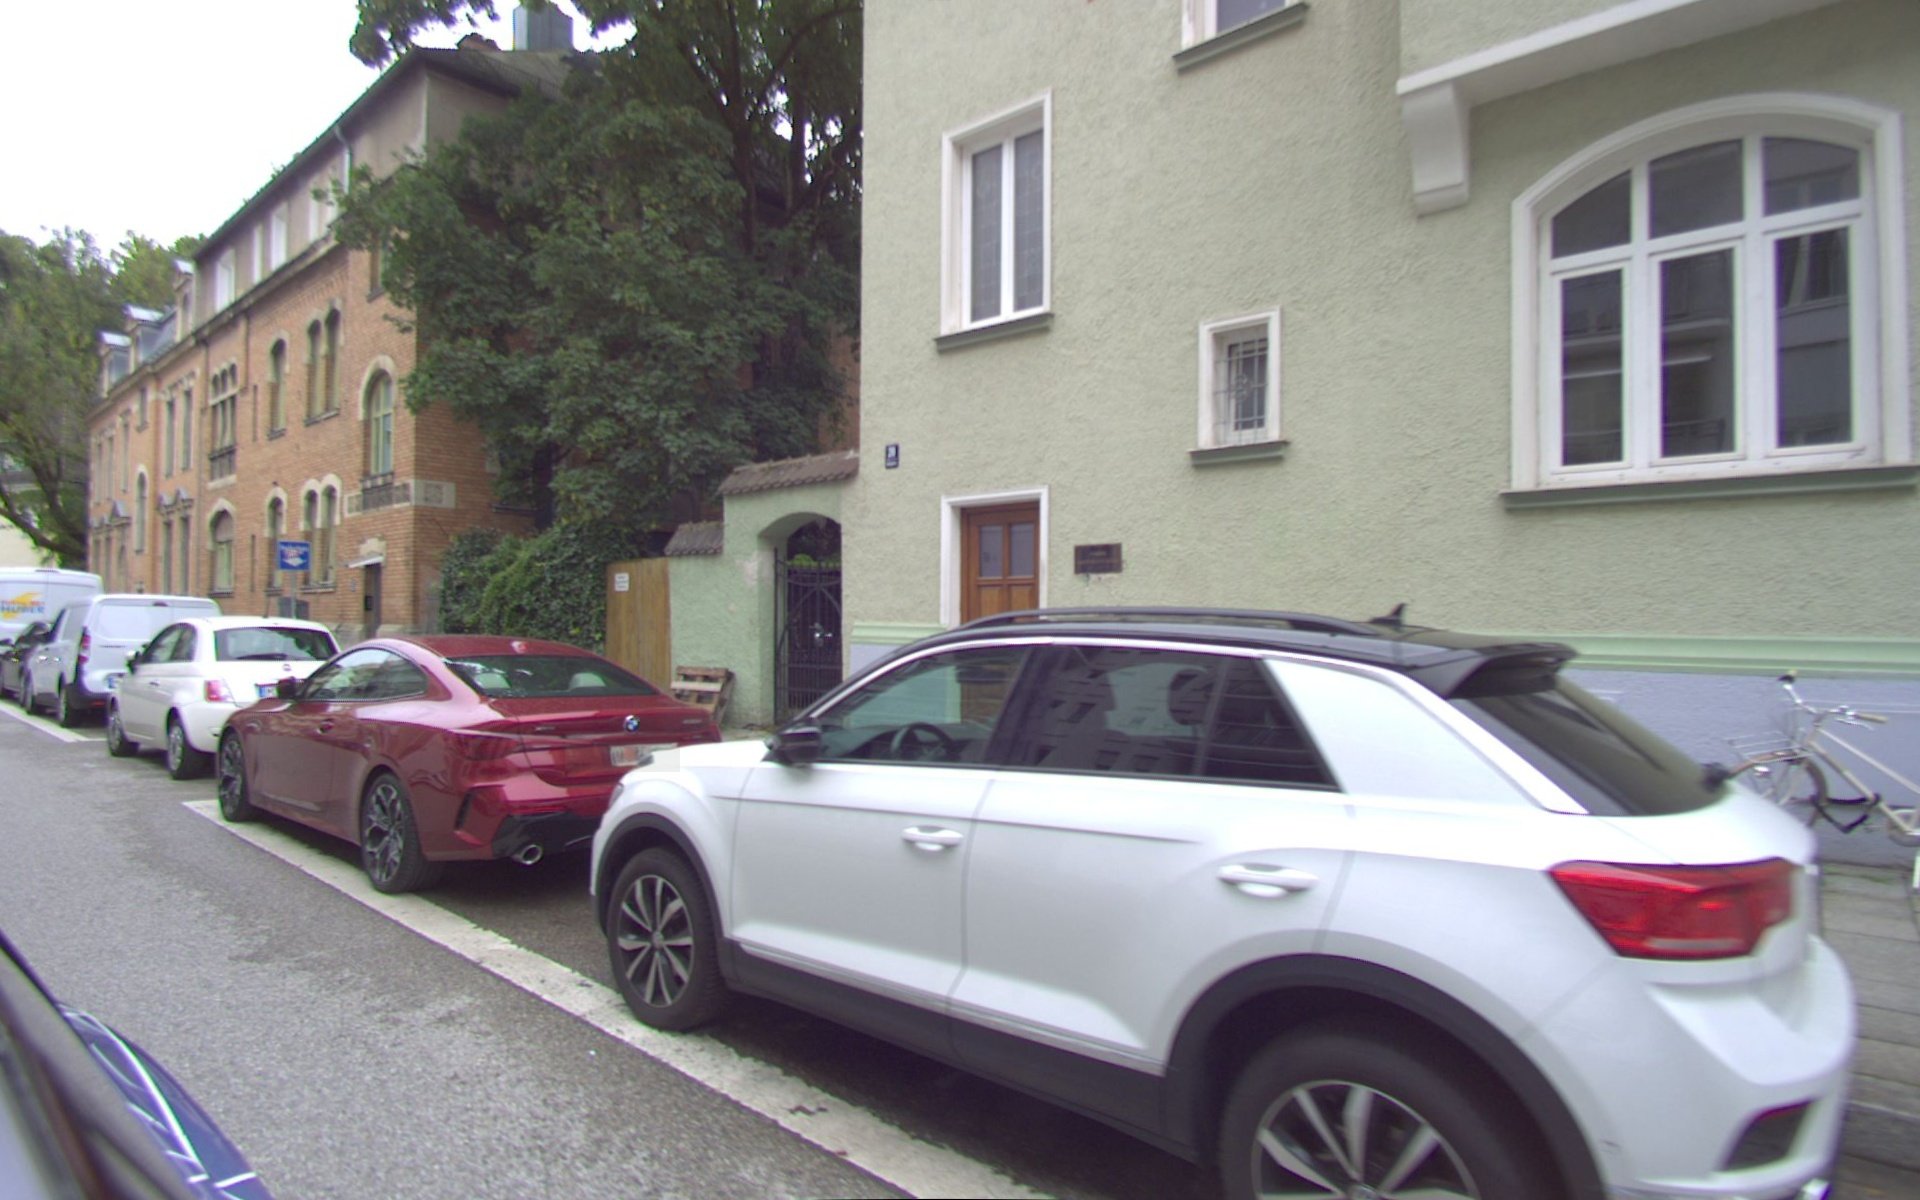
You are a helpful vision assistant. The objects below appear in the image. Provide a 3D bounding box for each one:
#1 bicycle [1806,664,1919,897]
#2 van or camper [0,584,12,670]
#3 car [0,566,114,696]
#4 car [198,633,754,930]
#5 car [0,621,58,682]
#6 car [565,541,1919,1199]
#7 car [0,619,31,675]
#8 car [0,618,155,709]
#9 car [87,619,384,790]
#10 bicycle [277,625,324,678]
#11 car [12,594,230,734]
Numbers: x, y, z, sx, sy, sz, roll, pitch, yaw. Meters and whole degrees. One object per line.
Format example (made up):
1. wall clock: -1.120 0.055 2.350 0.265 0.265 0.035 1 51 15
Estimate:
1. bicycle: 5.073 0.895 4.873 1.522 1.093 0.455 -1 0 40
2. van or camper: -32.366 0.877 32.583 4.954 2.682 2.089 -2 -3 40
3. car: -20.082 0.671 21.669 5.227 2.495 2.090 -2 -3 40
4. car: -3.467 0.925 6.826 4.399 1.378 1.728 -2 -3 40
5. car: -24.051 1.268 25.260 3.790 1.426 1.746 -2 -3 40
6. car: 0.527 0.754 3.357 4.104 1.542 1.662 -2 -3 40
7. car: -27.823 1.316 28.638 4.077 1.512 1.746 -2 -3 40
8. car: -15.952 1.079 18.037 4.163 1.431 1.697 -2 -3 40
9. car: -7.580 0.959 10.493 3.517 1.479 1.610 -1 -3 39
10. bicycle: -14.397 1.100 22.082 1.470 1.093 0.430 -1 0 40
11. car: -12.328 0.881 14.775 4.247 1.769 1.697 -2 -3 40
